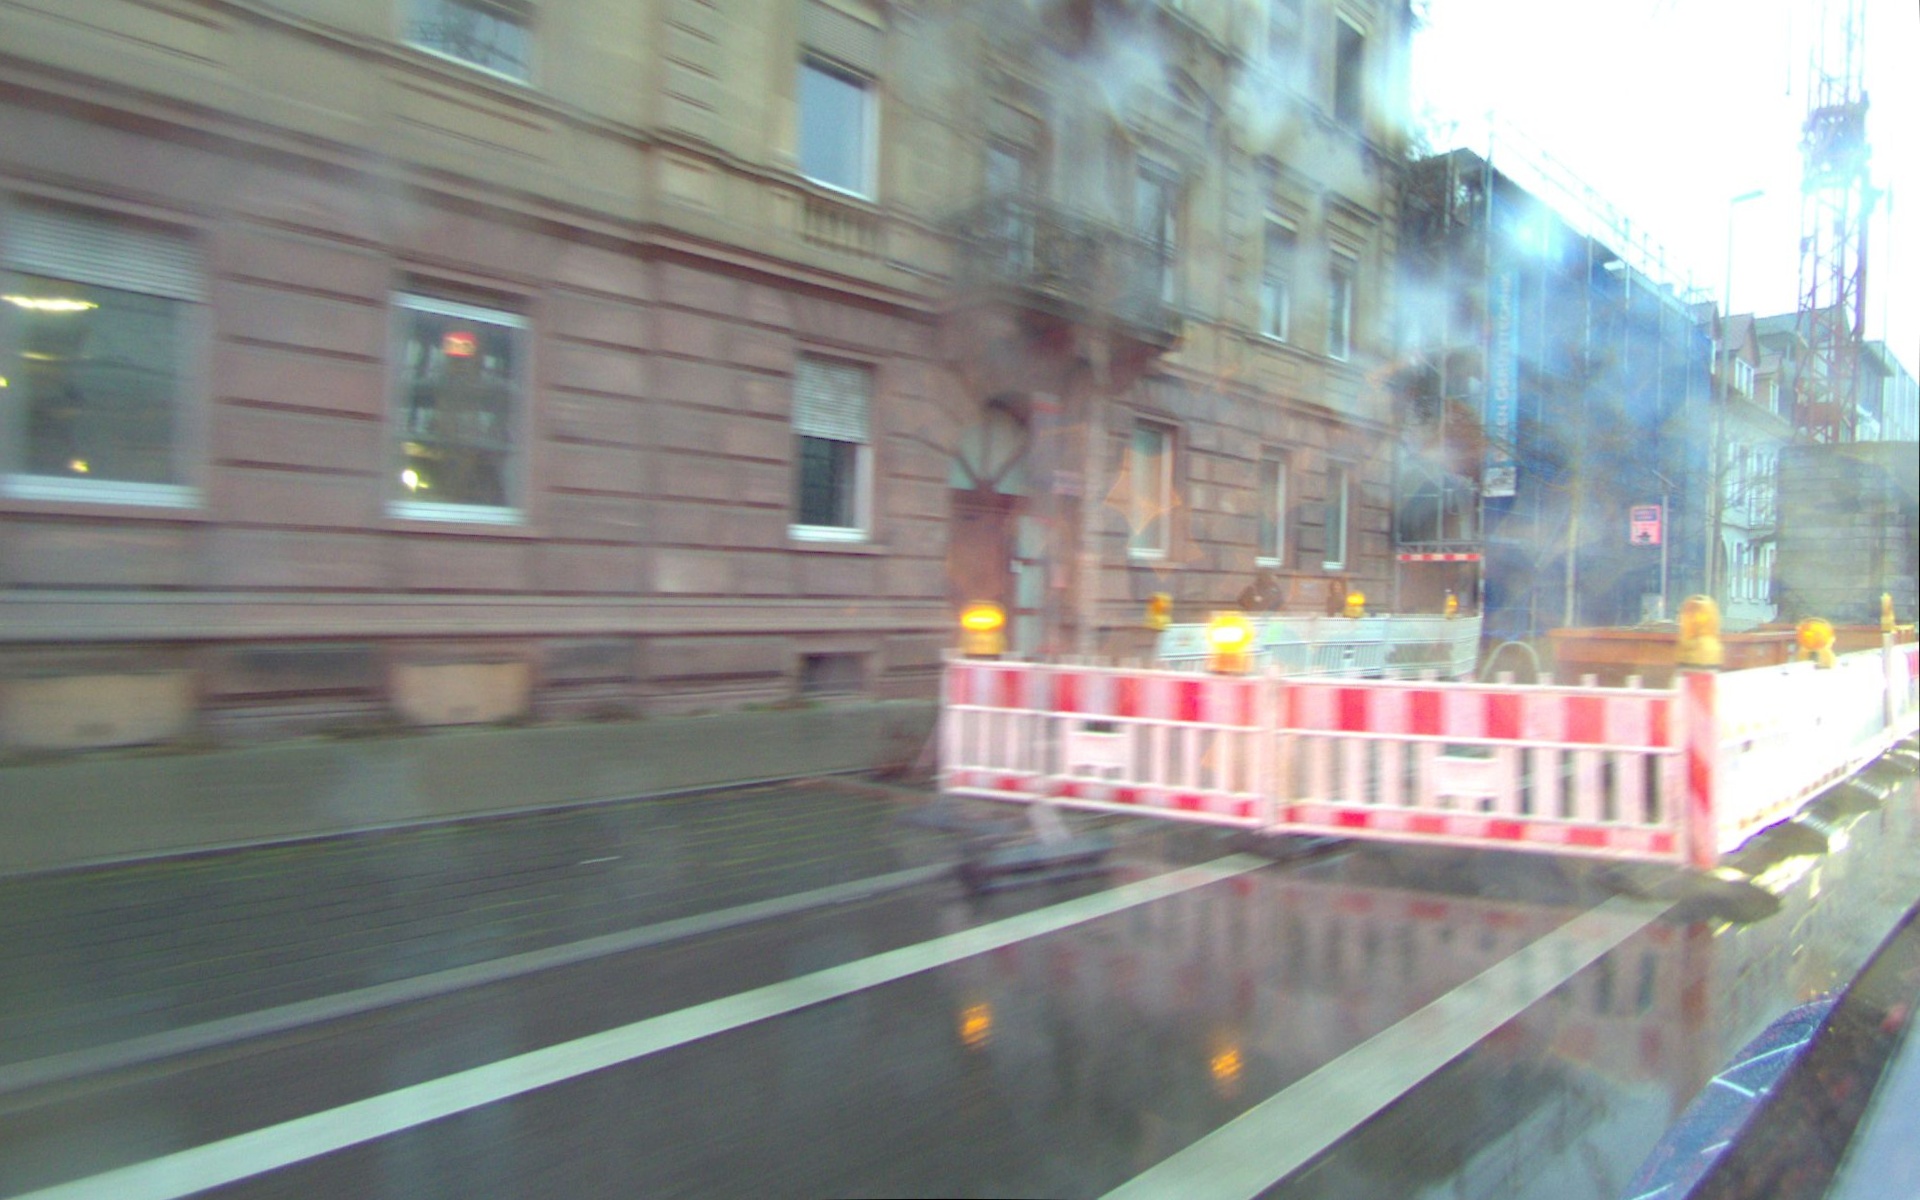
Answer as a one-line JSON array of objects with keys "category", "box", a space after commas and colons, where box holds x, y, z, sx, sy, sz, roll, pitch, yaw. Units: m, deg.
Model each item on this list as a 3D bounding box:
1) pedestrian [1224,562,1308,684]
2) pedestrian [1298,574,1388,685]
[{"category": "pedestrian", "box": [4.451, 0.315, 14.738, 0.694, 1.693, 0.870, 1, 2, -40]}, {"category": "pedestrian", "box": [5.682, 0.412, 15.030, 0.913, 1.564, 0.870, 1, 2, -41]}]
